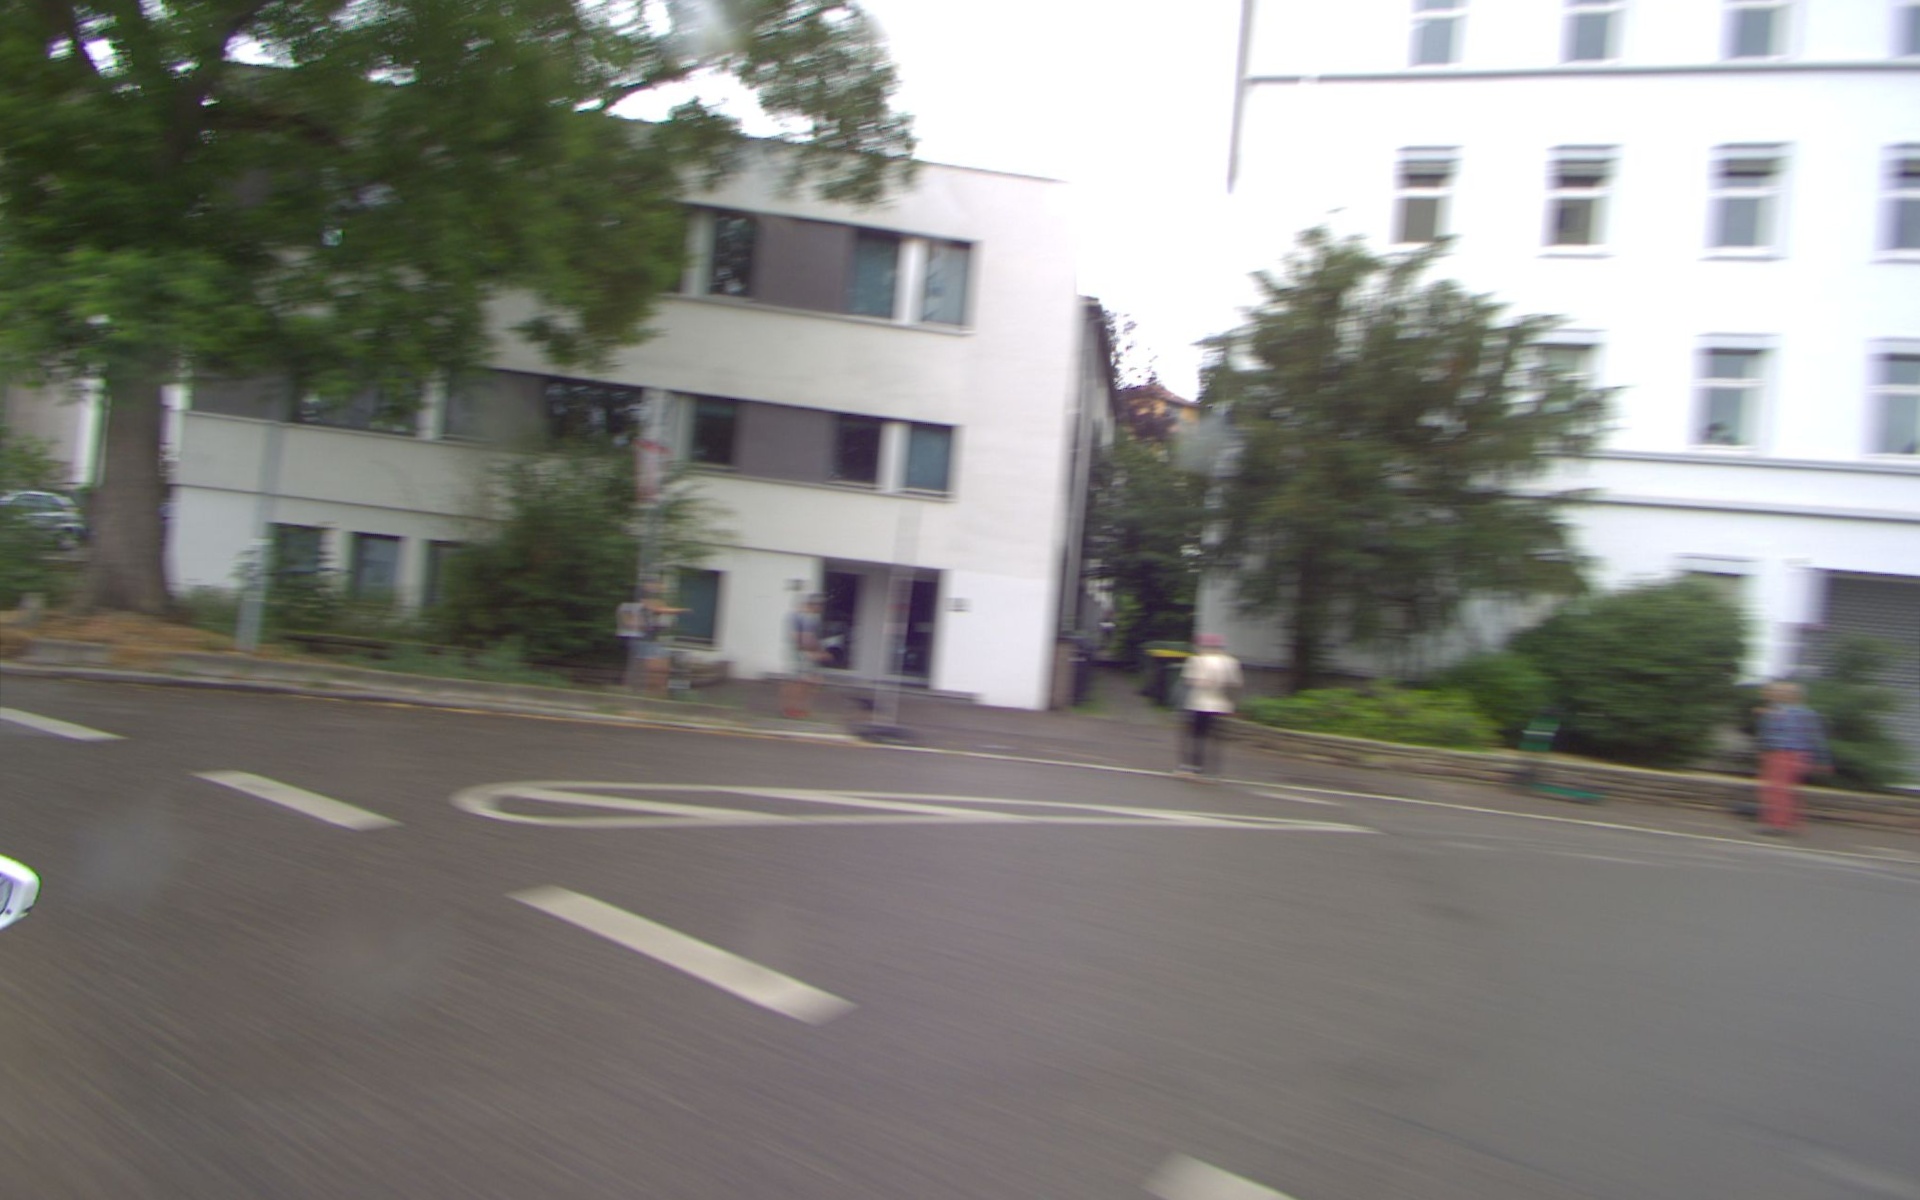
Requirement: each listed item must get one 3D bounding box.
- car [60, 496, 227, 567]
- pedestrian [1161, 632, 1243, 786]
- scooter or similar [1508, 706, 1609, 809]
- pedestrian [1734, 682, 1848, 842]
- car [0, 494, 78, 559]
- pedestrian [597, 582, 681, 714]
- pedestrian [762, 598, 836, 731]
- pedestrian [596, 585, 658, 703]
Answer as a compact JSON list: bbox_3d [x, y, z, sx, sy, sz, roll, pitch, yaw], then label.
[{"bbox_3d":[-23.860,-1.958,29.590,1.593,1.525,3.900,4,-2,1],"label":"car"},{"bbox_3d":[2.874,1.291,12.010,0.660,1.718,0.747,6,-4,2],"label":"pedestrian"},{"bbox_3d":[8.380,2.189,14.112,1.081,1.304,0.464,4,-2,17],"label":"scooter or similar"},{"bbox_3d":[10.846,2.104,13.144,0.900,1.946,0.543,5,0,-6],"label":"pedestrian"},{"bbox_3d":[-23.558,-1.813,24.178,1.594,1.528,3.767,4,2,-6],"label":"car"},{"bbox_3d":[-4.118,0.623,12.925,0.536,1.584,0.601,8,-1,30],"label":"pedestrian"},{"bbox_3d":[-2.125,0.852,13.332,0.590,1.648,0.546,9,-1,7],"label":"pedestrian"},{"bbox_3d":[-4.462,0.590,13.494,0.379,1.525,0.537,6,0,33],"label":"pedestrian"}]
